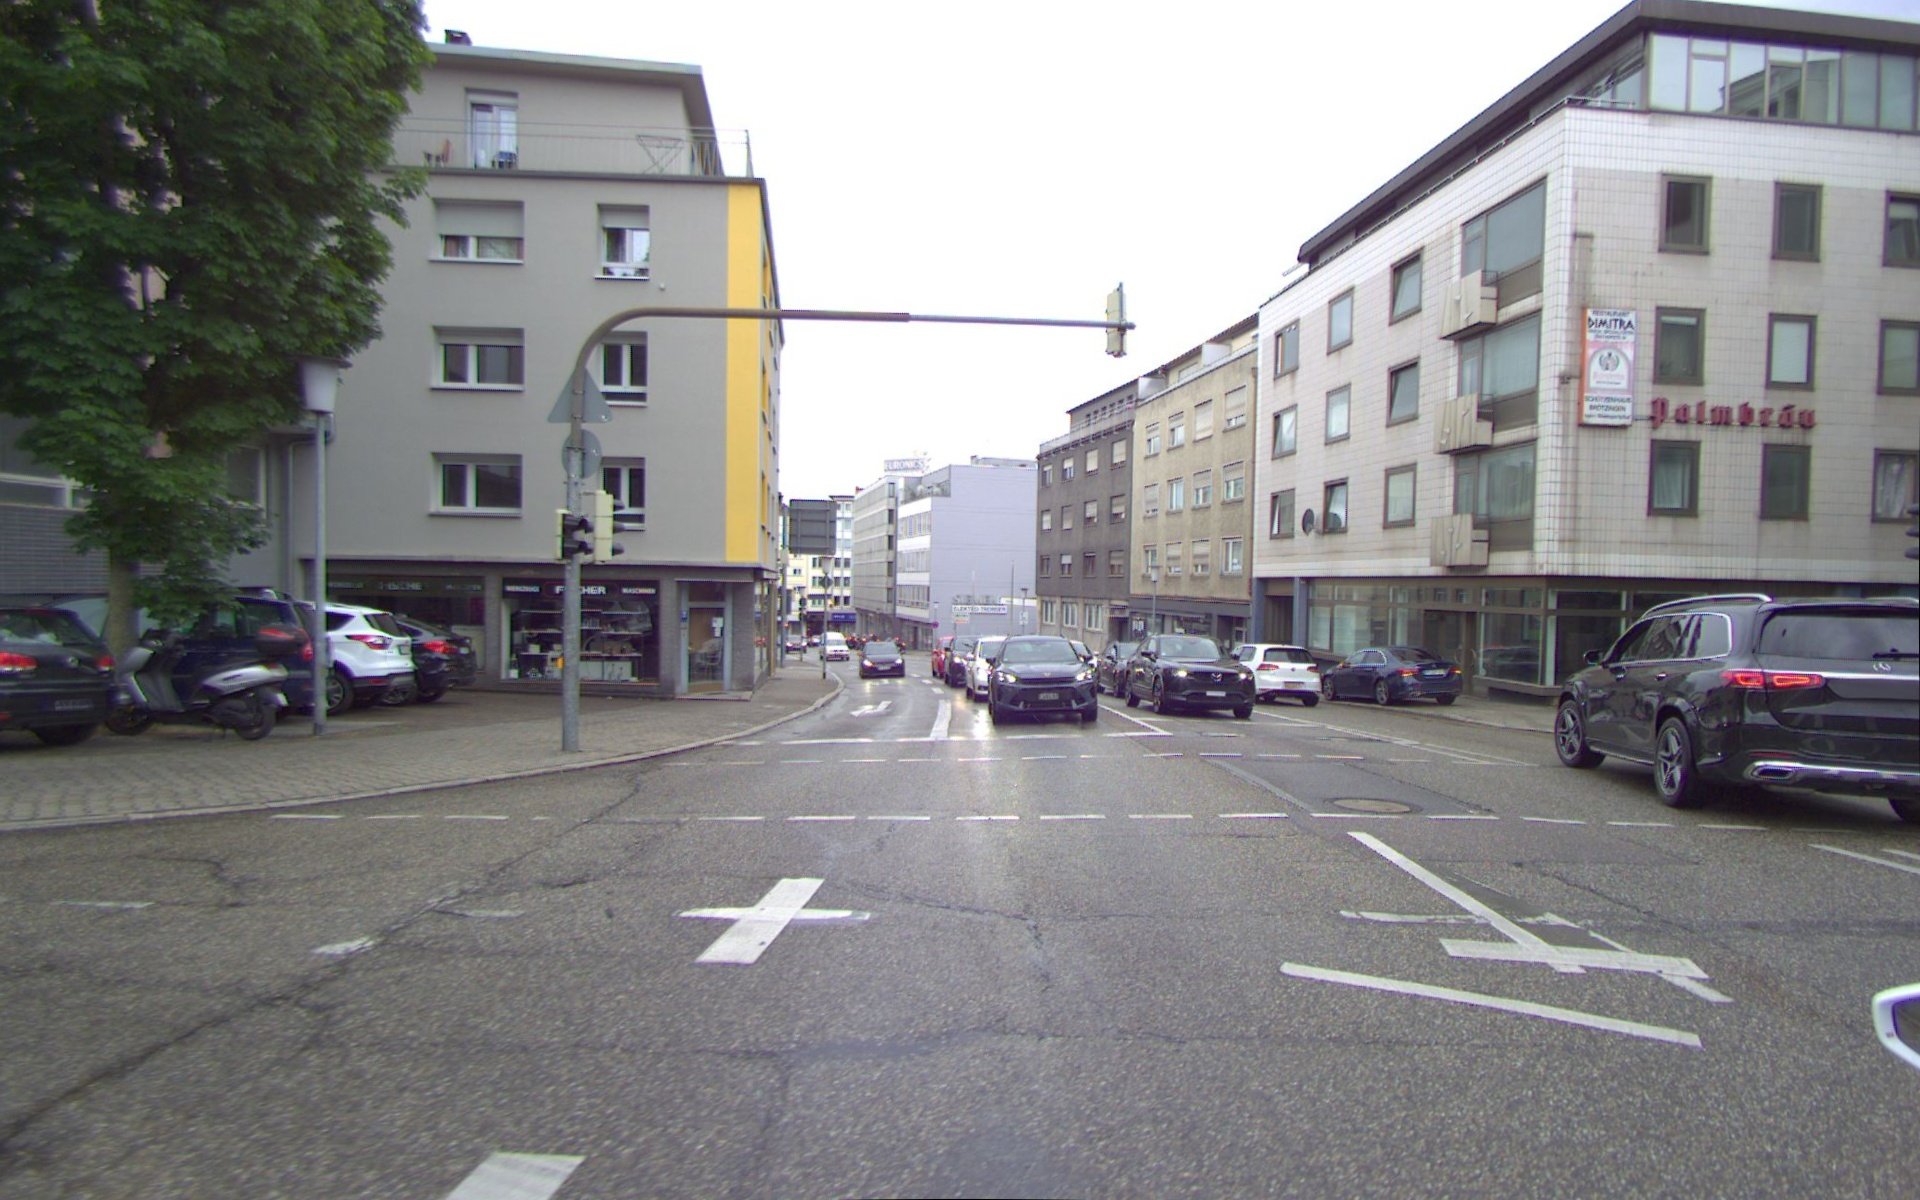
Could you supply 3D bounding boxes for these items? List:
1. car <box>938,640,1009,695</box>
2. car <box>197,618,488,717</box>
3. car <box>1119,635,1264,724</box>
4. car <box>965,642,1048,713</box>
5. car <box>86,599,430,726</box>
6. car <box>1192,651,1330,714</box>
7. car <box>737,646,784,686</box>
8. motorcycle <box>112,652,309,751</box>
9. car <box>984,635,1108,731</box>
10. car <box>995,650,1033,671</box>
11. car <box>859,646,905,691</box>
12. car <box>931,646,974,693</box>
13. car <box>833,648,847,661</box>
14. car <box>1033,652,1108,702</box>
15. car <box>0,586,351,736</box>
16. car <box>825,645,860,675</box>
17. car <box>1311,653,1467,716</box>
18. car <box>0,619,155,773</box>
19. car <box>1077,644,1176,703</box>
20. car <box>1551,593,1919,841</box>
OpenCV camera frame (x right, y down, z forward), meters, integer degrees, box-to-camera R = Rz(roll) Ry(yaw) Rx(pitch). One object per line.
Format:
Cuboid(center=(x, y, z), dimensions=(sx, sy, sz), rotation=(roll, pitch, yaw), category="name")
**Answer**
Cuboid(center=(0.366, 2.194, 32.992), dimensions=(1.778, 1.652, 4.340), rotation=(-1, -3, -6), category="car")
Cuboid(center=(-10.849, 1.235, 17.975), dimensions=(3.932, 1.515, 1.857), rotation=(3, -5, -13), category="car")
Cuboid(center=(4.466, 1.574, 20.062), dimensions=(1.789, 1.556, 4.380), rotation=(1, -4, -1), category="car")
Cuboid(center=(1.095, 1.898, 25.564), dimensions=(1.777, 1.563, 4.379), rotation=(1, -2, -1), category="car")
Cuboid(center=(-10.778, 1.020, 15.788), dimensions=(3.934, 1.817, 1.856), rotation=(2, -4, -15), category="car")
Cuboid(center=(7.589, 2.074, 25.813), dimensions=(1.802, 1.480, 4.376), rotation=(1, -4, -7), category="car")
Cuboid(center=(-8.178, 2.631, 40.872), dimensions=(1.667, 1.474, 4.654), rotation=(3, -3, -13), category="car")
Cuboid(center=(-8.601, 1.164, 11.574), dimensions=(1.762, 1.046, 0.453), rotation=(3, -1, -8), category="motorcycle")
Cuboid(center=(1.452, 1.432, 18.505), dimensions=(1.789, 1.497, 4.379), rotation=(1, -2, -1), category="car")
Cuboid(center=(4.236, 4.758, 79.065), dimensions=(1.772, 1.496, 4.474), rotation=(3, -3, -13), category="car")
Cuboid(center=(-3.226, 2.755, 41.120), dimensions=(1.708, 1.617, 3.774), rotation=(2, -2, -6), category="car")
Cuboid(center=(-0.330, 2.710, 39.712), dimensions=(1.578, 1.617, 3.777), rotation=(2, -1, -2), category="car")
Cuboid(center=(-15.540, 7.014, 130.149), dimensions=(1.501, 1.568, 3.100), rotation=(2, -2, -13), category="car")
Cuboid(center=(3.630, 2.553, 33.642), dimensions=(1.777, 1.541, 4.561), rotation=(1, -4, -3), category="car")
Cuboid(center=(-10.751, 0.839, 13.262), dimensions=(4.284, 1.750, 1.765), rotation=(4, -5, -22), category="car")
Cuboid(center=(-7.795, 3.967, 66.247), dimensions=(1.704, 1.853, 4.049), rotation=(0, -3, -16), category="car")
Cuboid(center=(10.696, 2.081, 25.432), dimensions=(1.736, 1.410, 4.377), rotation=(-1, -3, -5), category="car")
Cuboid(center=(-10.758, 0.838, 10.017), dimensions=(3.922, 1.377, 1.738), rotation=(3, -3, -1), category="car")
Cuboid(center=(4.431, 1.974, 27.341), dimensions=(1.777, 1.433, 4.379), rotation=(1, -4, -3), category="car")
Cuboid(center=(7.351, 0.930, 9.574), dimensions=(1.987, 1.762, 4.749), rotation=(1, -2, 18), category="car")
